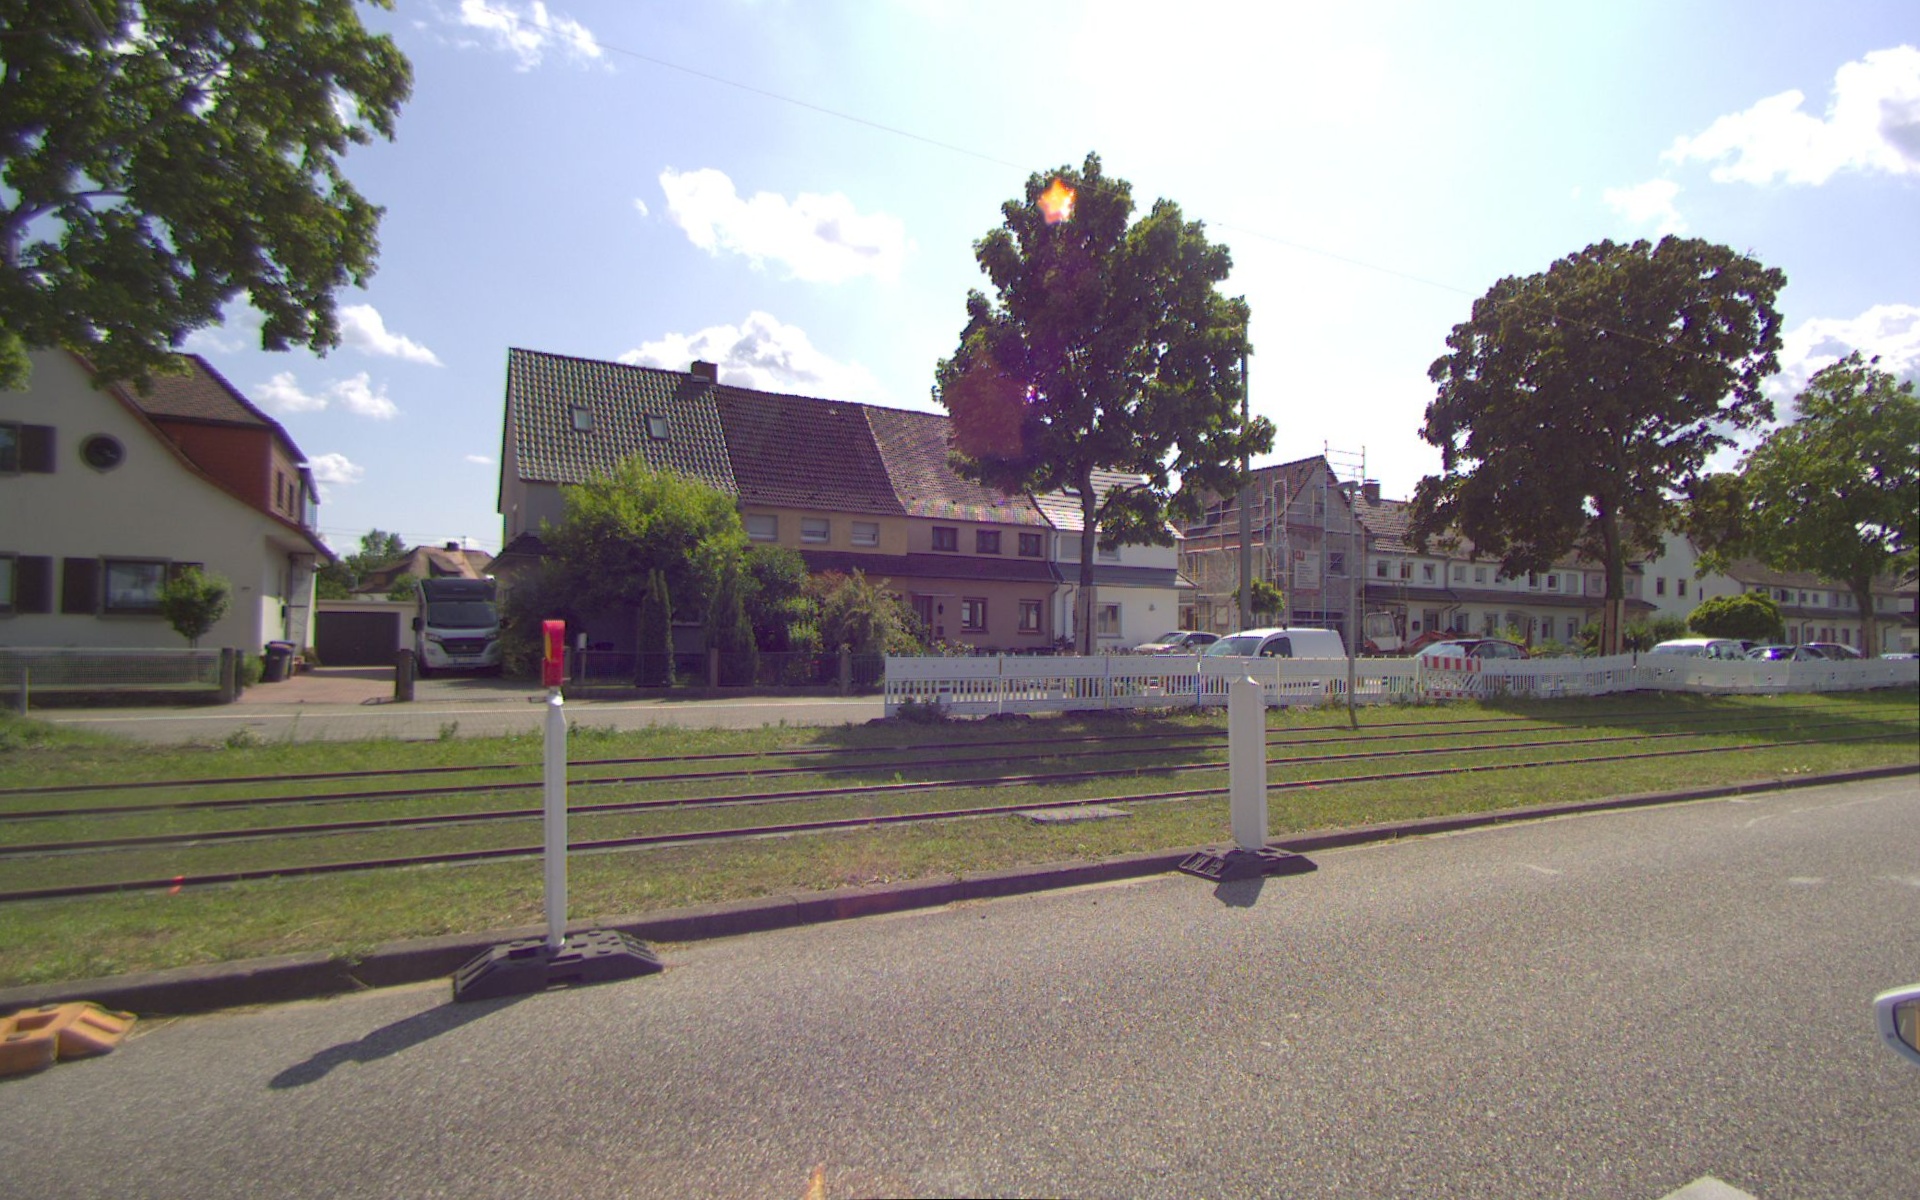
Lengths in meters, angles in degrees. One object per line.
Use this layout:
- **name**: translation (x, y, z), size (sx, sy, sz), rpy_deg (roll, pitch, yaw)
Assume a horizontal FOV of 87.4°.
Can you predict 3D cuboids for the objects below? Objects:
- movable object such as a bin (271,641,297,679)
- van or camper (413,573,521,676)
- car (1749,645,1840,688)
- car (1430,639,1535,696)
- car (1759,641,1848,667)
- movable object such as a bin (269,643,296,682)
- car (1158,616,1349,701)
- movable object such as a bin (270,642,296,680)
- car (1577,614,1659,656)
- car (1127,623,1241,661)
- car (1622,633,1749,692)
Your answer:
- **movable object such as a bin**: translation (-16.515, 1.469, 24.552), size (0.453, 0.879, 0.471), rpy_deg (2, 0, -30)
- **van or camper**: translation (-14.497, 0.635, 29.303), size (2.469, 2.667, 6.305), rpy_deg (2, 0, -29)
- **car**: translation (28.217, 2.254, 33.957), size (3.077, 1.395, 1.344), rpy_deg (3, -3, -29)
- **car**: translation (12.923, 1.665, 24.830), size (2.416, 1.365, 1.069), rpy_deg (2, -3, -25)
- **car**: translation (52.884, 3.350, 63.024), size (1.705, 1.529, 3.968), rpy_deg (2, -2, -29)
- **movable object such as a bin**: translation (-16.018, 1.483, 23.759), size (0.453, 0.879, 0.471), rpy_deg (2, 0, -30)
- **car**: translation (6.281, 1.256, 21.402), size (3.952, 1.647, 1.646), rpy_deg (3, -3, -29)
- **movable object such as a bin**: translation (-16.268, 1.476, 24.158), size (0.453, 0.879, 0.471), rpy_deg (2, 0, -30)
- **car**: translation (34.729, 1.854, 53.003), size (3.952, 2.040, 1.984), rpy_deg (3, 0, -30)
- **car**: translation (8.159, 1.536, 36.467), size (4.071, 1.291, 1.527), rpy_deg (3, -3, -29)
- **car**: translation (21.854, 1.895, 30.233), size (3.852, 1.673, 1.616), rpy_deg (3, -3, -29)
